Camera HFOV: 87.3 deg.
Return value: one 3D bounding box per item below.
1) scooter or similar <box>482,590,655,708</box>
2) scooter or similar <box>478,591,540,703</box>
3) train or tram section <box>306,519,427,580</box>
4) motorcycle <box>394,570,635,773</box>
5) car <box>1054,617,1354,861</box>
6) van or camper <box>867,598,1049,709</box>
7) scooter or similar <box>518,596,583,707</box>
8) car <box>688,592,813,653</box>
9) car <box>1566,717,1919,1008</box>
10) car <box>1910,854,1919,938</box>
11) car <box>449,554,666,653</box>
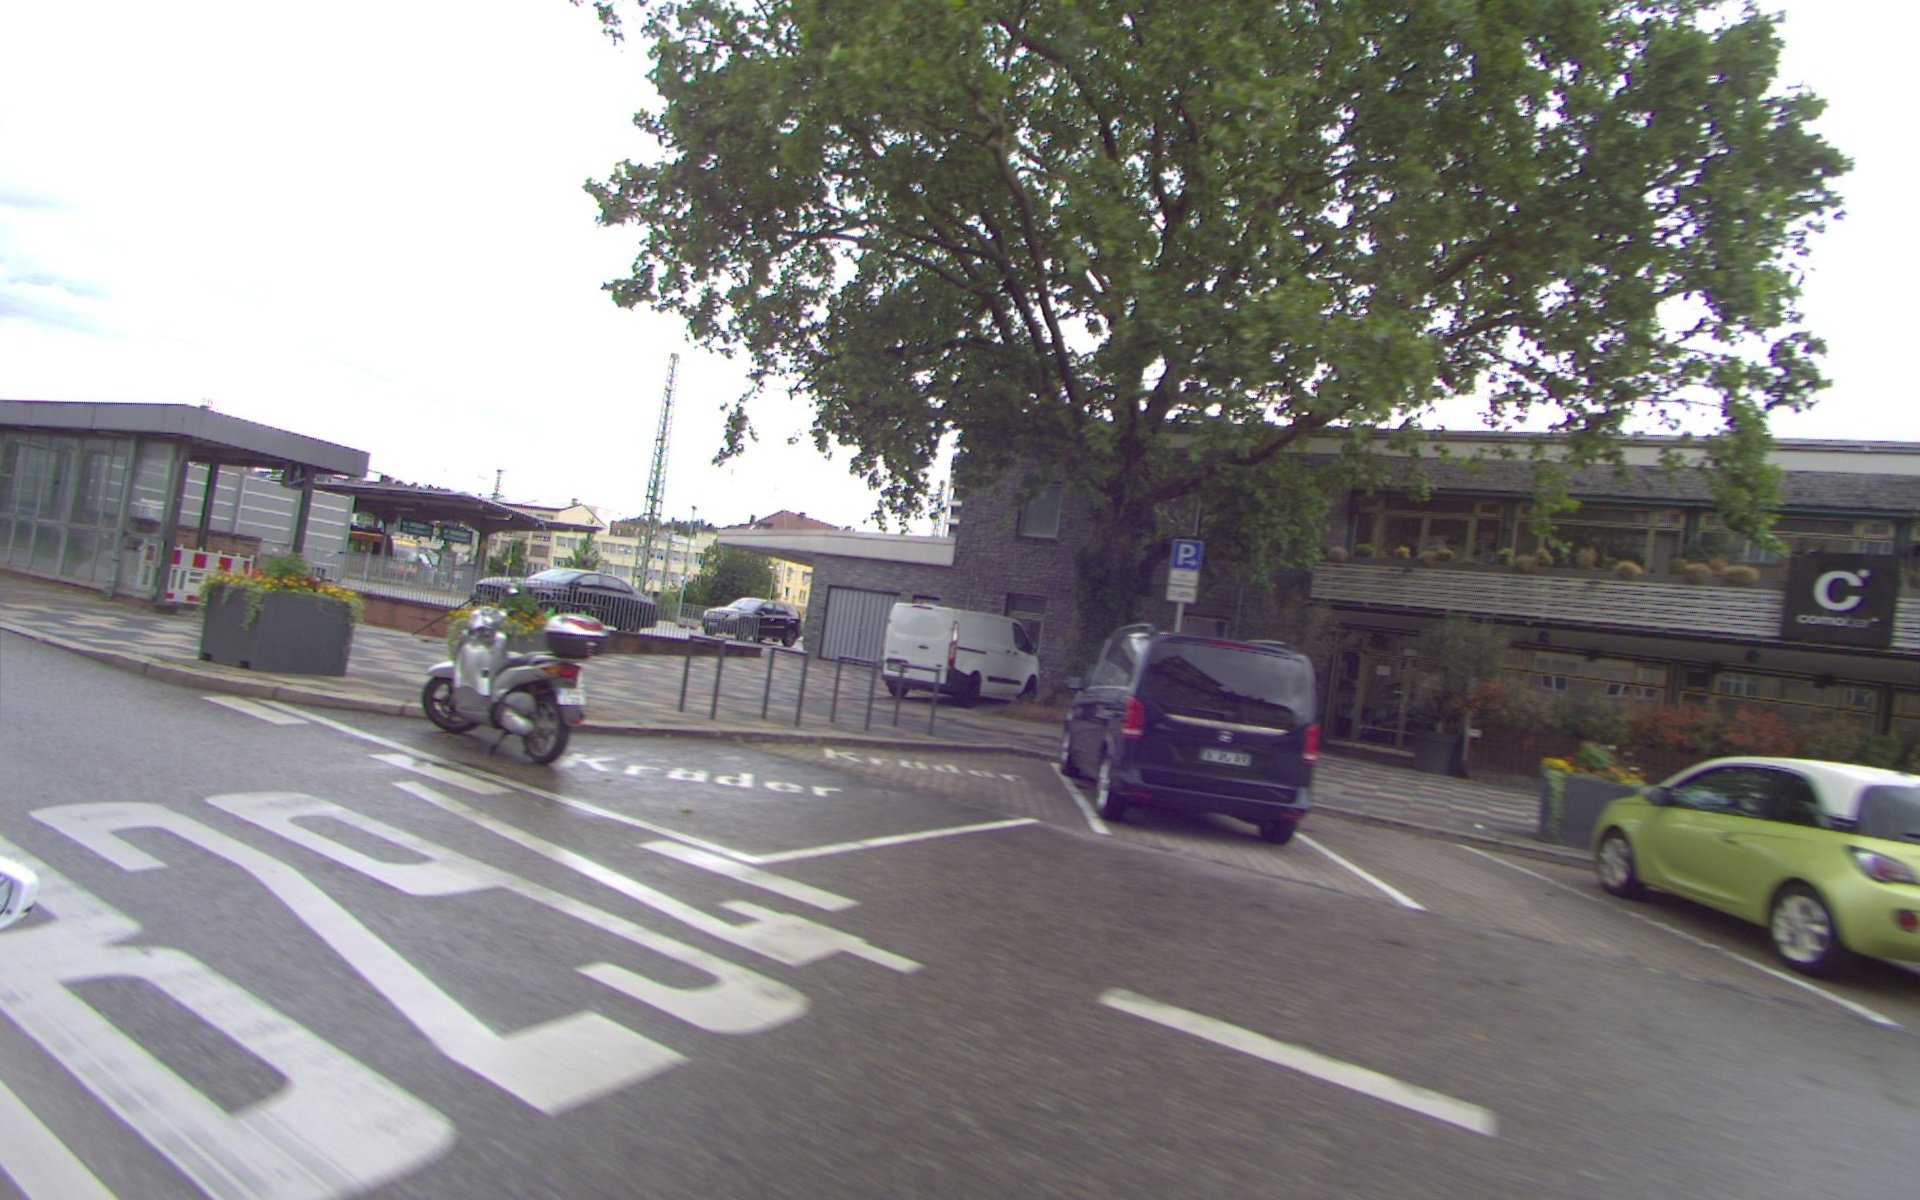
[{"bbox_3d":[-4.825,0.604,12.404,1.639,1.167,1.068,7,-4,32],"label":"scooter or similar"},{"bbox_3d":[-5.157,0.508,11.474,0.410,1.167,1.255,10,-4,-27],"label":"scooter or similar"},{"bbox_3d":[-40.961,-3.493,69.302,9.359,3.322,2.659,6,-1,30],"label":"train or tram section"},{"bbox_3d":[-3.738,0.550,8.366,2.074,1.368,0.644,7,-1,32],"label":"motorcycle"},{"bbox_3d":[2.376,1.305,11.241,2.070,1.896,4.703,7,-2,1],"label":"car"},{"bbox_3d":[0.080,1.259,22.238,1.987,2.014,4.288,7,-2,29],"label":"van or camper"},{"bbox_3d":[-4.770,0.573,11.676,0.410,1.167,1.255,10,-4,-27],"label":"scooter or similar"},{"bbox_3d":[-8.383,0.960,40.656,2.075,1.896,4.691,7,-2,33],"label":"car"},{"bbox_3d":[6.833,1.972,8.151,1.729,1.542,3.594,7,-2,5],"label":"car"},{"bbox_3d":[9.423,2.207,6.827,1.849,1.653,4.239,7,-2,2],"label":"car"},{"bbox_3d":[-9.894,0.166,25.173,2.072,1.896,4.698,7,-2,27],"label":"car"}]
